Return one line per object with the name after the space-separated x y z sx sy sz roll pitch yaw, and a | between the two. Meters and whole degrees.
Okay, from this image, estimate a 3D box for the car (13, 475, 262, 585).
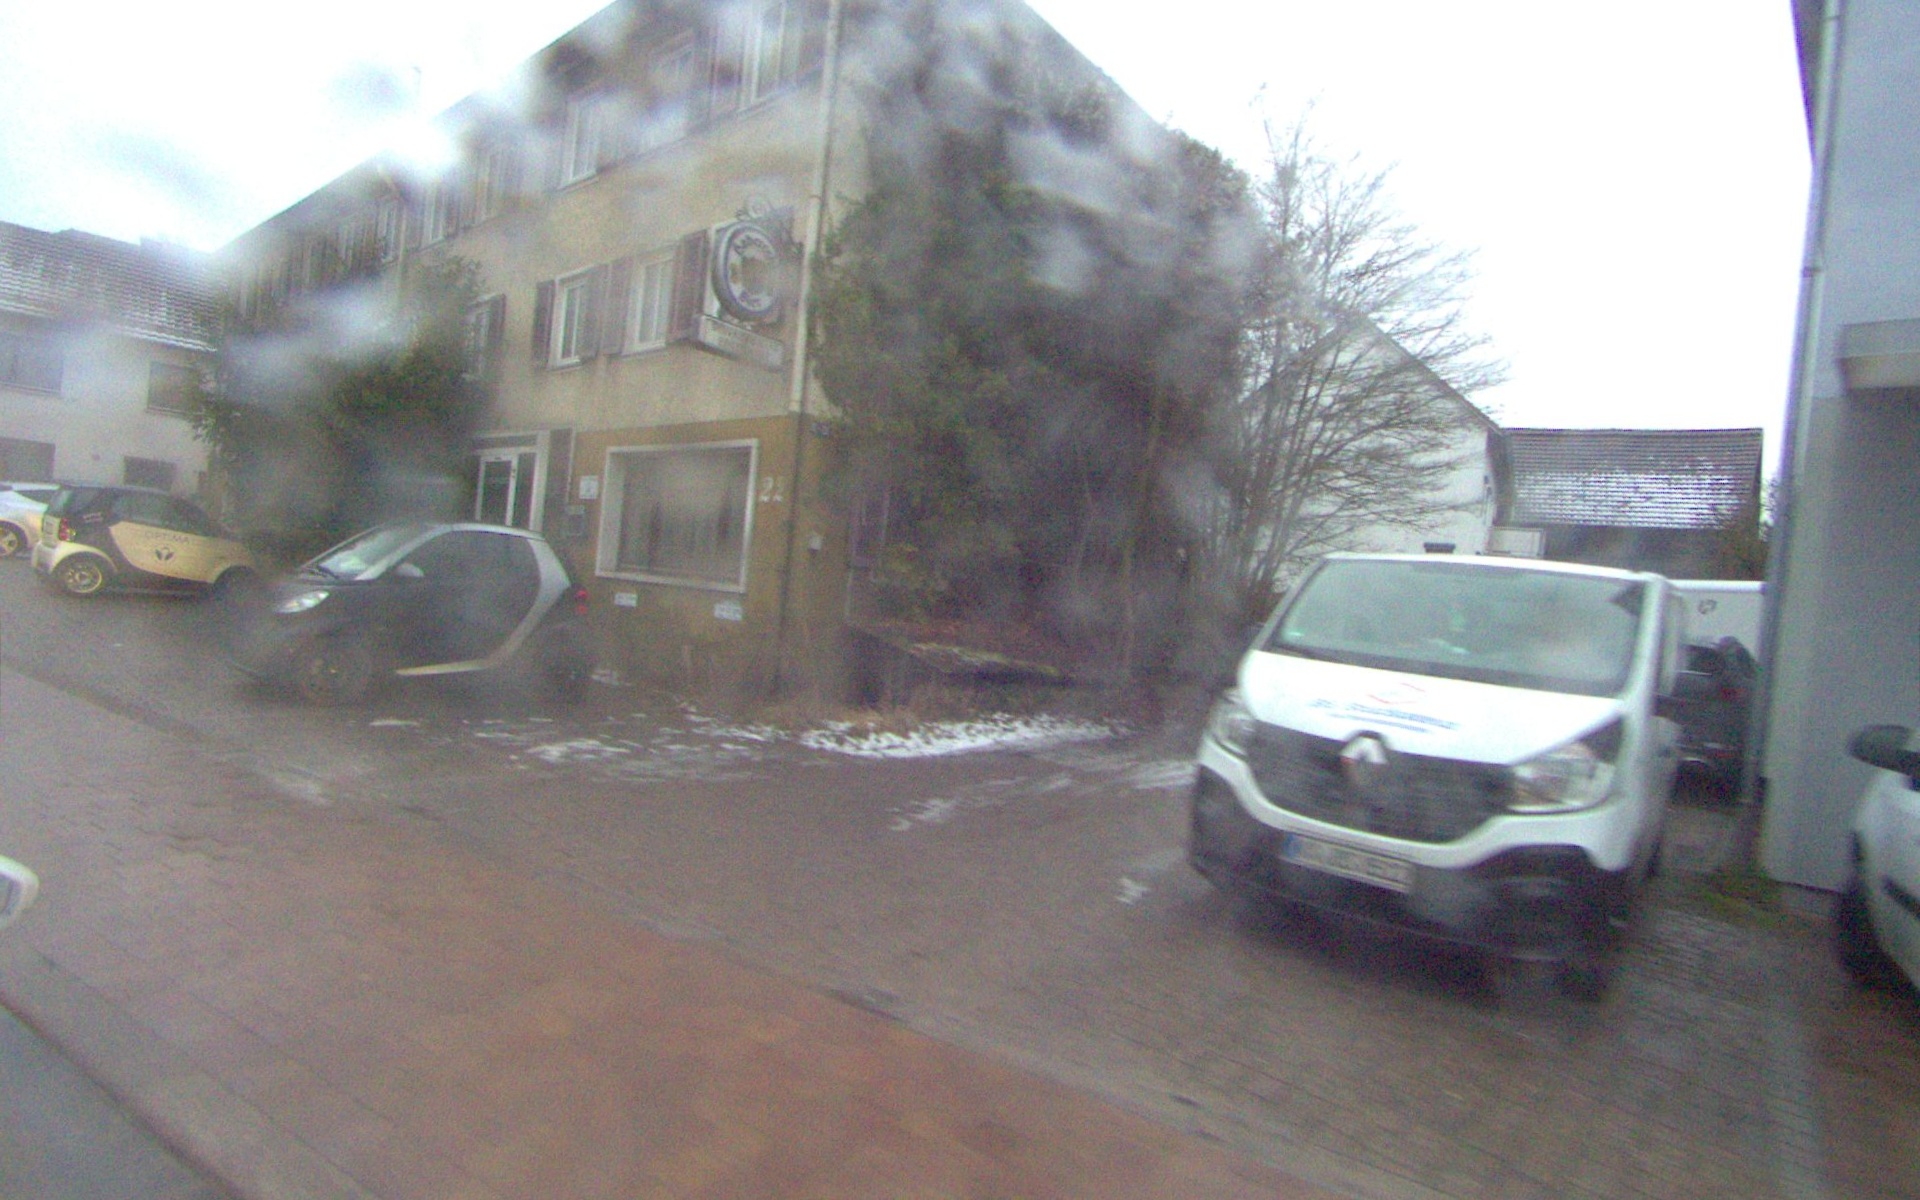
-14.028 -1.157 17.244 1.528 1.493 3.058 7 2 41 | car

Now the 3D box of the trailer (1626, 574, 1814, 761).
12.358 0.961 16.269 1.815 2.553 3.972 7 4 43 | trailer

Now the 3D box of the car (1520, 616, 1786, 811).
7.983 1.131 11.439 1.855 1.644 3.975 7 3 42 | car

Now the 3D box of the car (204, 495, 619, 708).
-4.619 0.038 8.698 1.406 1.493 2.759 7 2 39 | car

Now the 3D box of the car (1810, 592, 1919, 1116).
4.414 0.958 3.308 1.834 1.867 4.041 7 2 34 | car

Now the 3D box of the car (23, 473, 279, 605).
-11.735 -0.850 14.671 1.528 1.567 2.579 8 2 38 | car

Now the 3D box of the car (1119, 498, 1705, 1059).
3.112 0.690 6.076 1.908 1.914 4.974 8 2 38 | car

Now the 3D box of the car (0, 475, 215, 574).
-16.777 -1.456 19.118 1.726 1.493 3.891 7 2 41 | car
